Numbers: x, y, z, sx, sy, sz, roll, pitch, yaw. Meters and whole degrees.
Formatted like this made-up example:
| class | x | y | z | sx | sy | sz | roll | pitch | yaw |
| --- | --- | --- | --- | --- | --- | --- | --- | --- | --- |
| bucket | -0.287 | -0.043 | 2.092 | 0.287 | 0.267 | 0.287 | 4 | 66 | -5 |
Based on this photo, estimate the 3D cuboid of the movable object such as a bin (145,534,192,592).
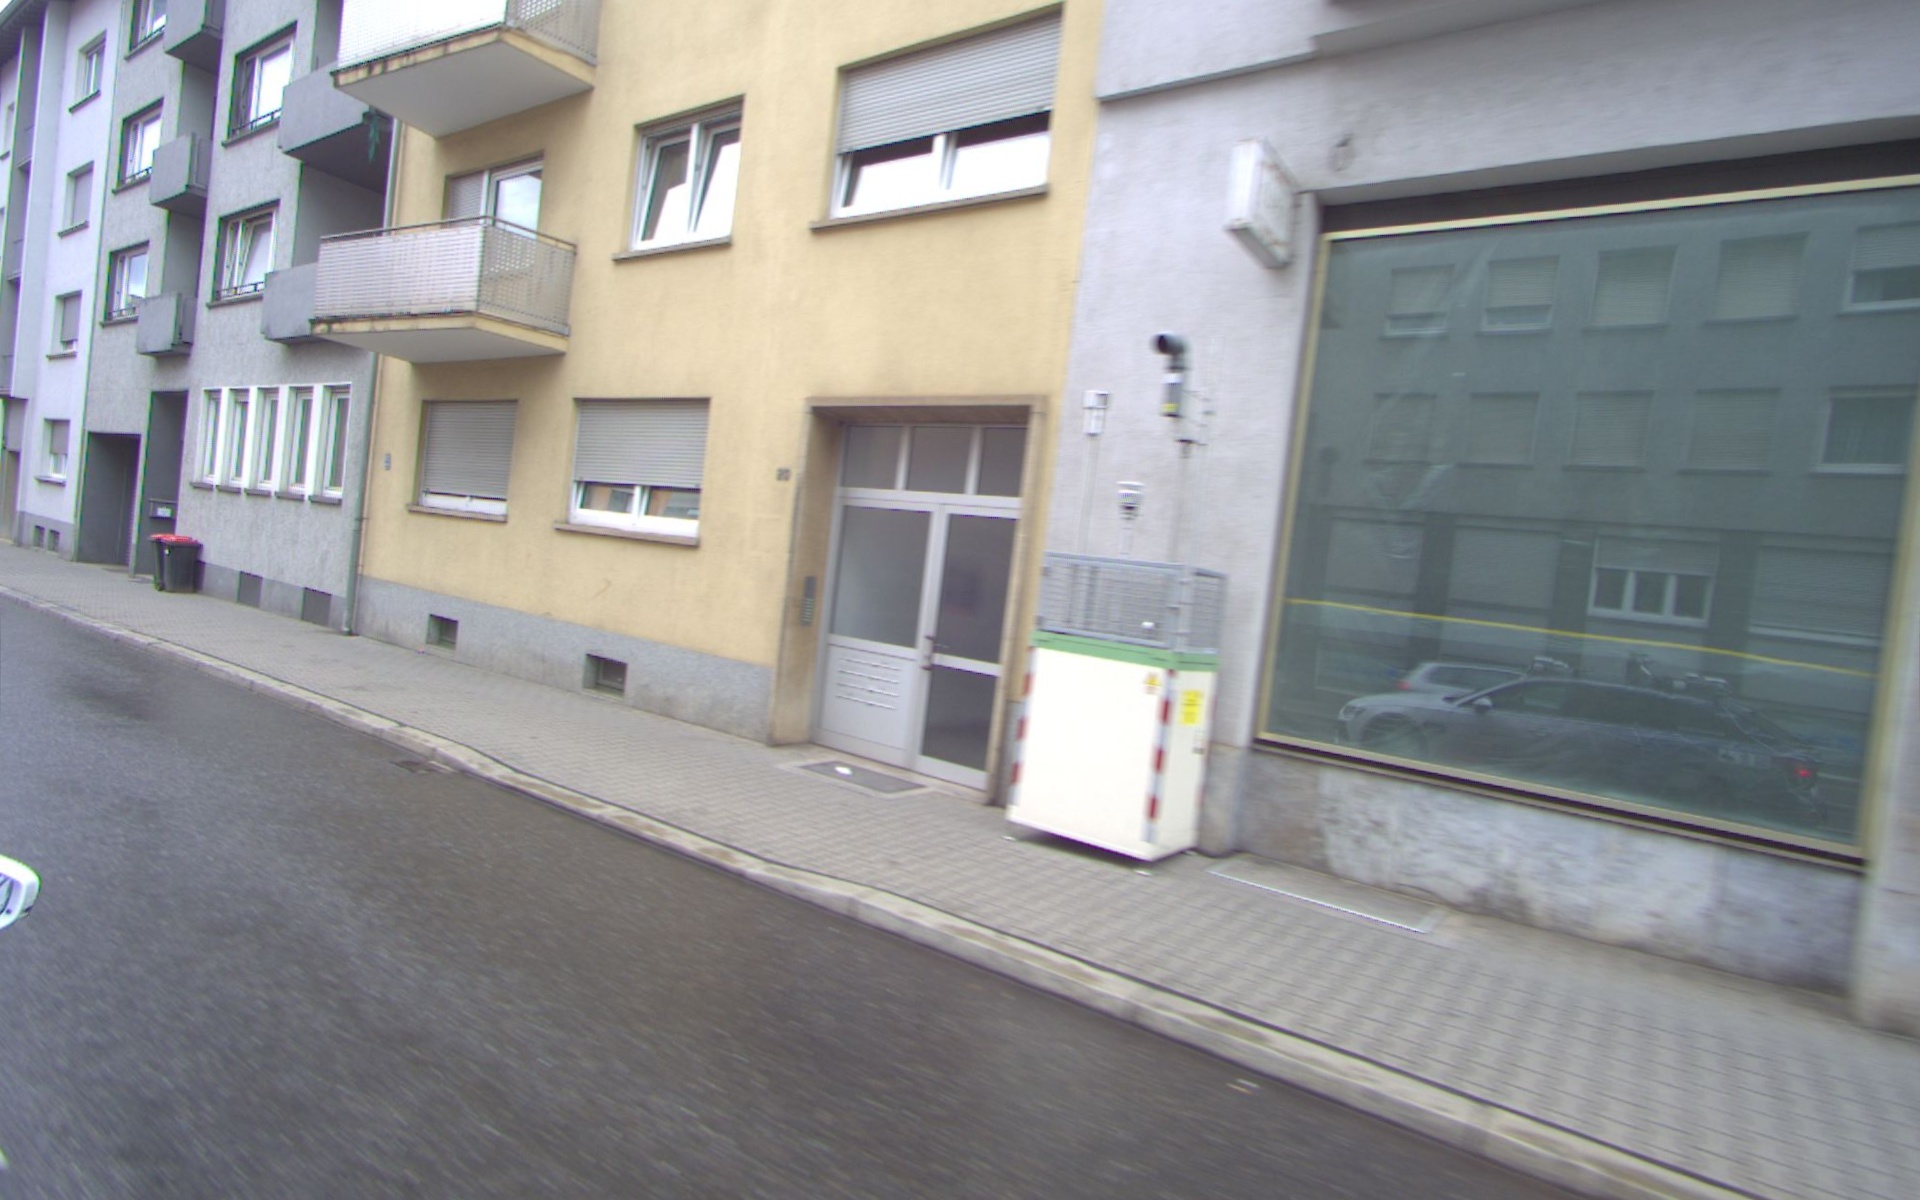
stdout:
| class | x | y | z | sx | sy | sz | roll | pitch | yaw |
| --- | --- | --- | --- | --- | --- | --- | --- | --- | --- |
| movable object such as a bin | -14.033 | -0.649 | 17.832 | 0.467 | 0.976 | 0.561 | 8 | 5 | 38 |

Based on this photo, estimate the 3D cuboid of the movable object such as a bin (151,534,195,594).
| class | x | y | z | sx | sy | sz | roll | pitch | yaw |
| --- | --- | --- | --- | --- | --- | --- | --- | --- | --- |
| movable object such as a bin | -13.642 | -0.626 | 17.444 | 0.556 | 0.976 | 0.472 | 8 | 5 | 38 |
